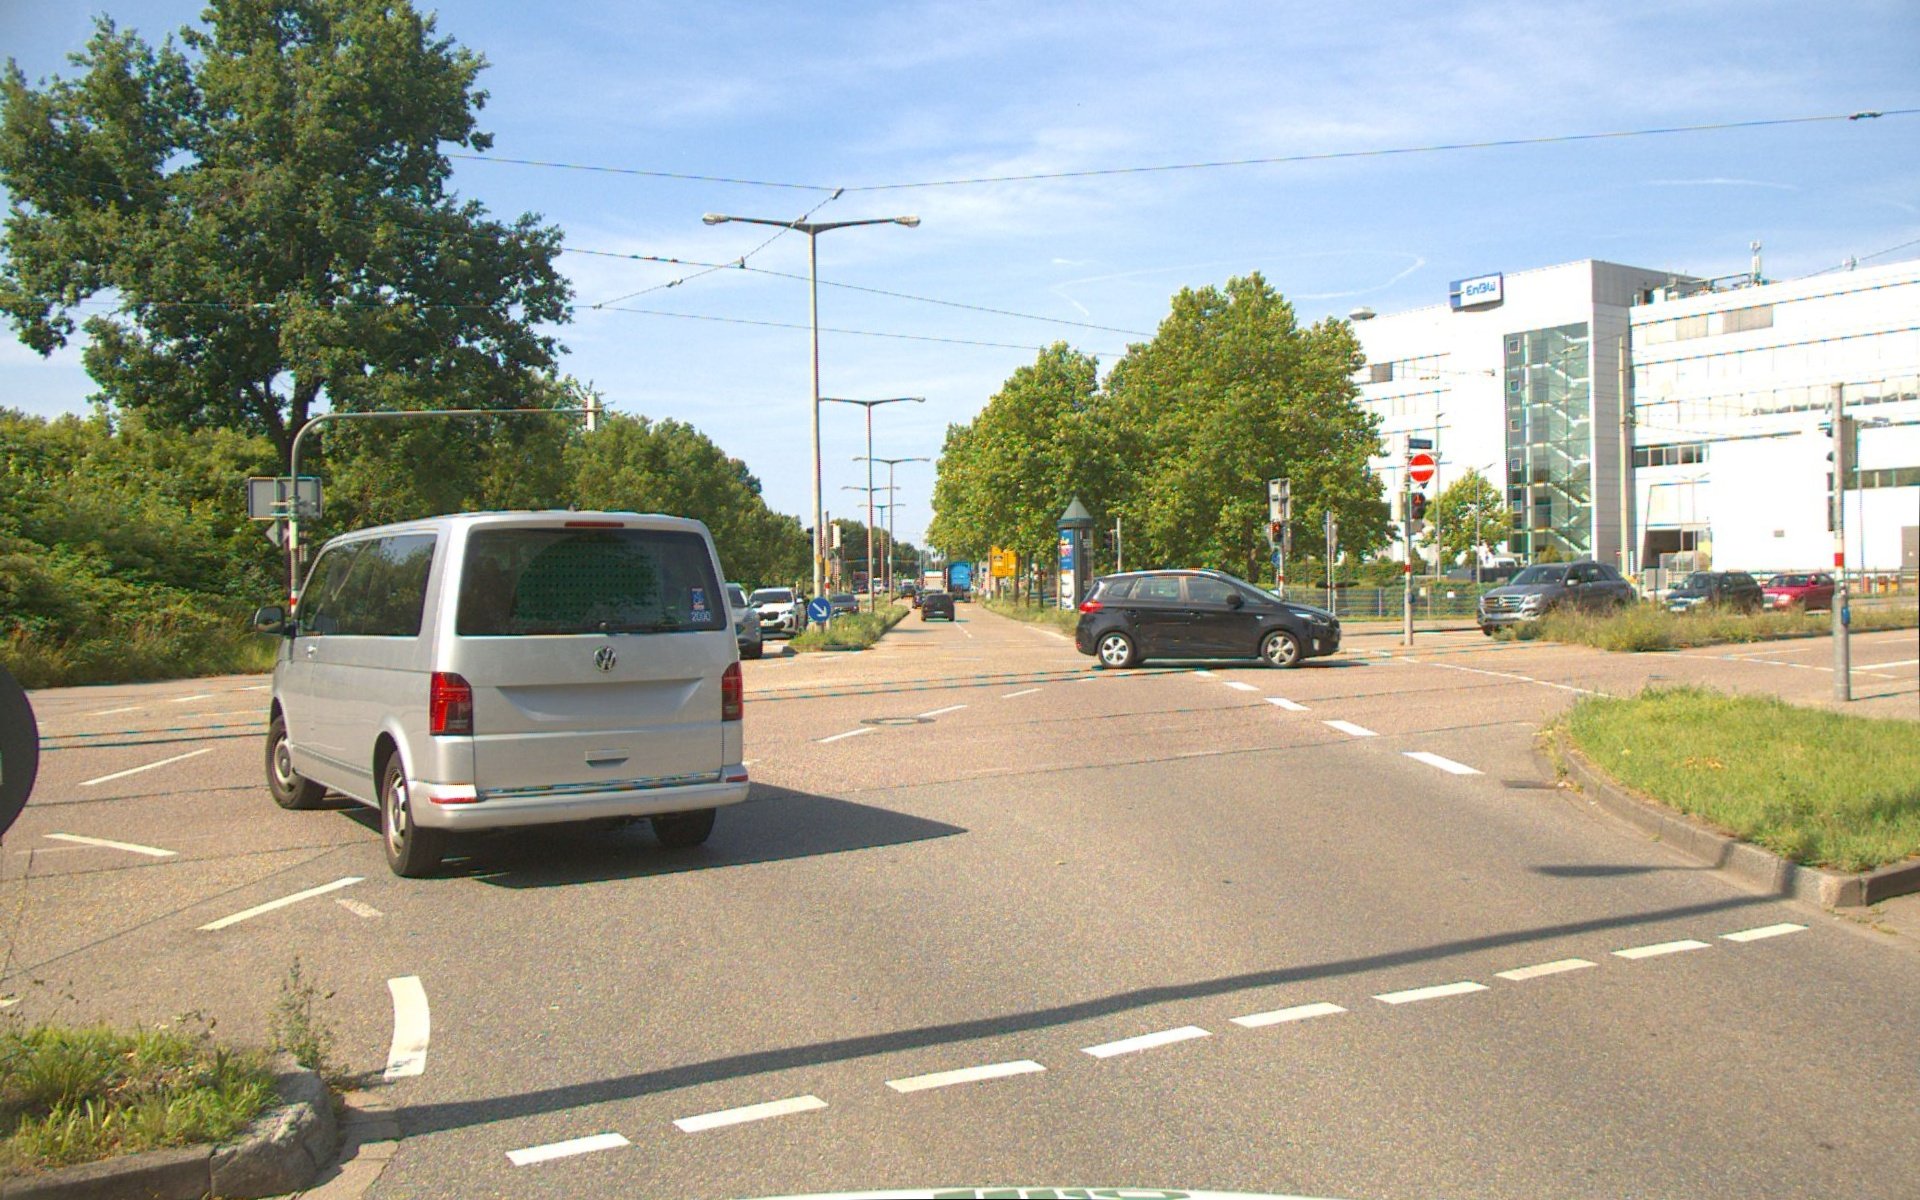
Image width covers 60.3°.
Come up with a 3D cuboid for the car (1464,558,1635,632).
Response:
[{"bbox_3d":[14.828,-0.147,41.473,4.579,1.718,1.890,-2,0,-38],"label":"car"}]

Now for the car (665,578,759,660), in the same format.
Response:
[{"bbox_3d":[-5.598,0.395,37.485,1.953,1.679,4.647,-1,0,-8],"label":"car"}]

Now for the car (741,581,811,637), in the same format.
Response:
[{"bbox_3d":[-6.023,0.282,54.608,1.871,1.718,4.625,-1,0,-2],"label":"car"}]

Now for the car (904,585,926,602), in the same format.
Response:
[{"bbox_3d":[-3.710,-0.550,137.705,1.713,1.368,4.377,-1,0,-1],"label":"car"}]

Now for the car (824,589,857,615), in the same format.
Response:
[{"bbox_3d":[-6.996,0.076,97.288,1.680,1.402,4.471,-3,1,-2],"label":"car"}]

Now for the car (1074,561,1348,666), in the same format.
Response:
[{"bbox_3d":[4.226,0.221,27.769,4.272,1.633,1.815,-1,0,18],"label":"car"}]

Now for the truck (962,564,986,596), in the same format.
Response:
[{"bbox_3d":[2.099,-2.893,240.482,3.125,4.431,13.150,-1,0,2],"label":"truck"}]

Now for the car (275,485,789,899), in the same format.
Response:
[{"bbox_3d":[-3.014,0.439,10.658,1.922,2.006,4.969,-1,0,-31],"label":"car"}]

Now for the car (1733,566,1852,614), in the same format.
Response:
[{"bbox_3d":[27.716,-0.342,54.995,4.579,1.469,1.757,-2,0,-38],"label":"car"}]

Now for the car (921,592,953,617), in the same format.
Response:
[{"bbox_3d":[-1.213,0.244,87.481,1.609,1.258,3.252,-1,0,-1],"label":"car"}]

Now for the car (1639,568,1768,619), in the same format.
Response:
[{"bbox_3d":[23.239,-0.211,51.651,4.579,1.469,1.757,-2,0,-38],"label":"car"}]

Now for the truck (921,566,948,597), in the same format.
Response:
[{"bbox_3d":[-3.122,-2.220,202.207,2.782,3.640,8.722,-1,0,2],"label":"truck"}]
